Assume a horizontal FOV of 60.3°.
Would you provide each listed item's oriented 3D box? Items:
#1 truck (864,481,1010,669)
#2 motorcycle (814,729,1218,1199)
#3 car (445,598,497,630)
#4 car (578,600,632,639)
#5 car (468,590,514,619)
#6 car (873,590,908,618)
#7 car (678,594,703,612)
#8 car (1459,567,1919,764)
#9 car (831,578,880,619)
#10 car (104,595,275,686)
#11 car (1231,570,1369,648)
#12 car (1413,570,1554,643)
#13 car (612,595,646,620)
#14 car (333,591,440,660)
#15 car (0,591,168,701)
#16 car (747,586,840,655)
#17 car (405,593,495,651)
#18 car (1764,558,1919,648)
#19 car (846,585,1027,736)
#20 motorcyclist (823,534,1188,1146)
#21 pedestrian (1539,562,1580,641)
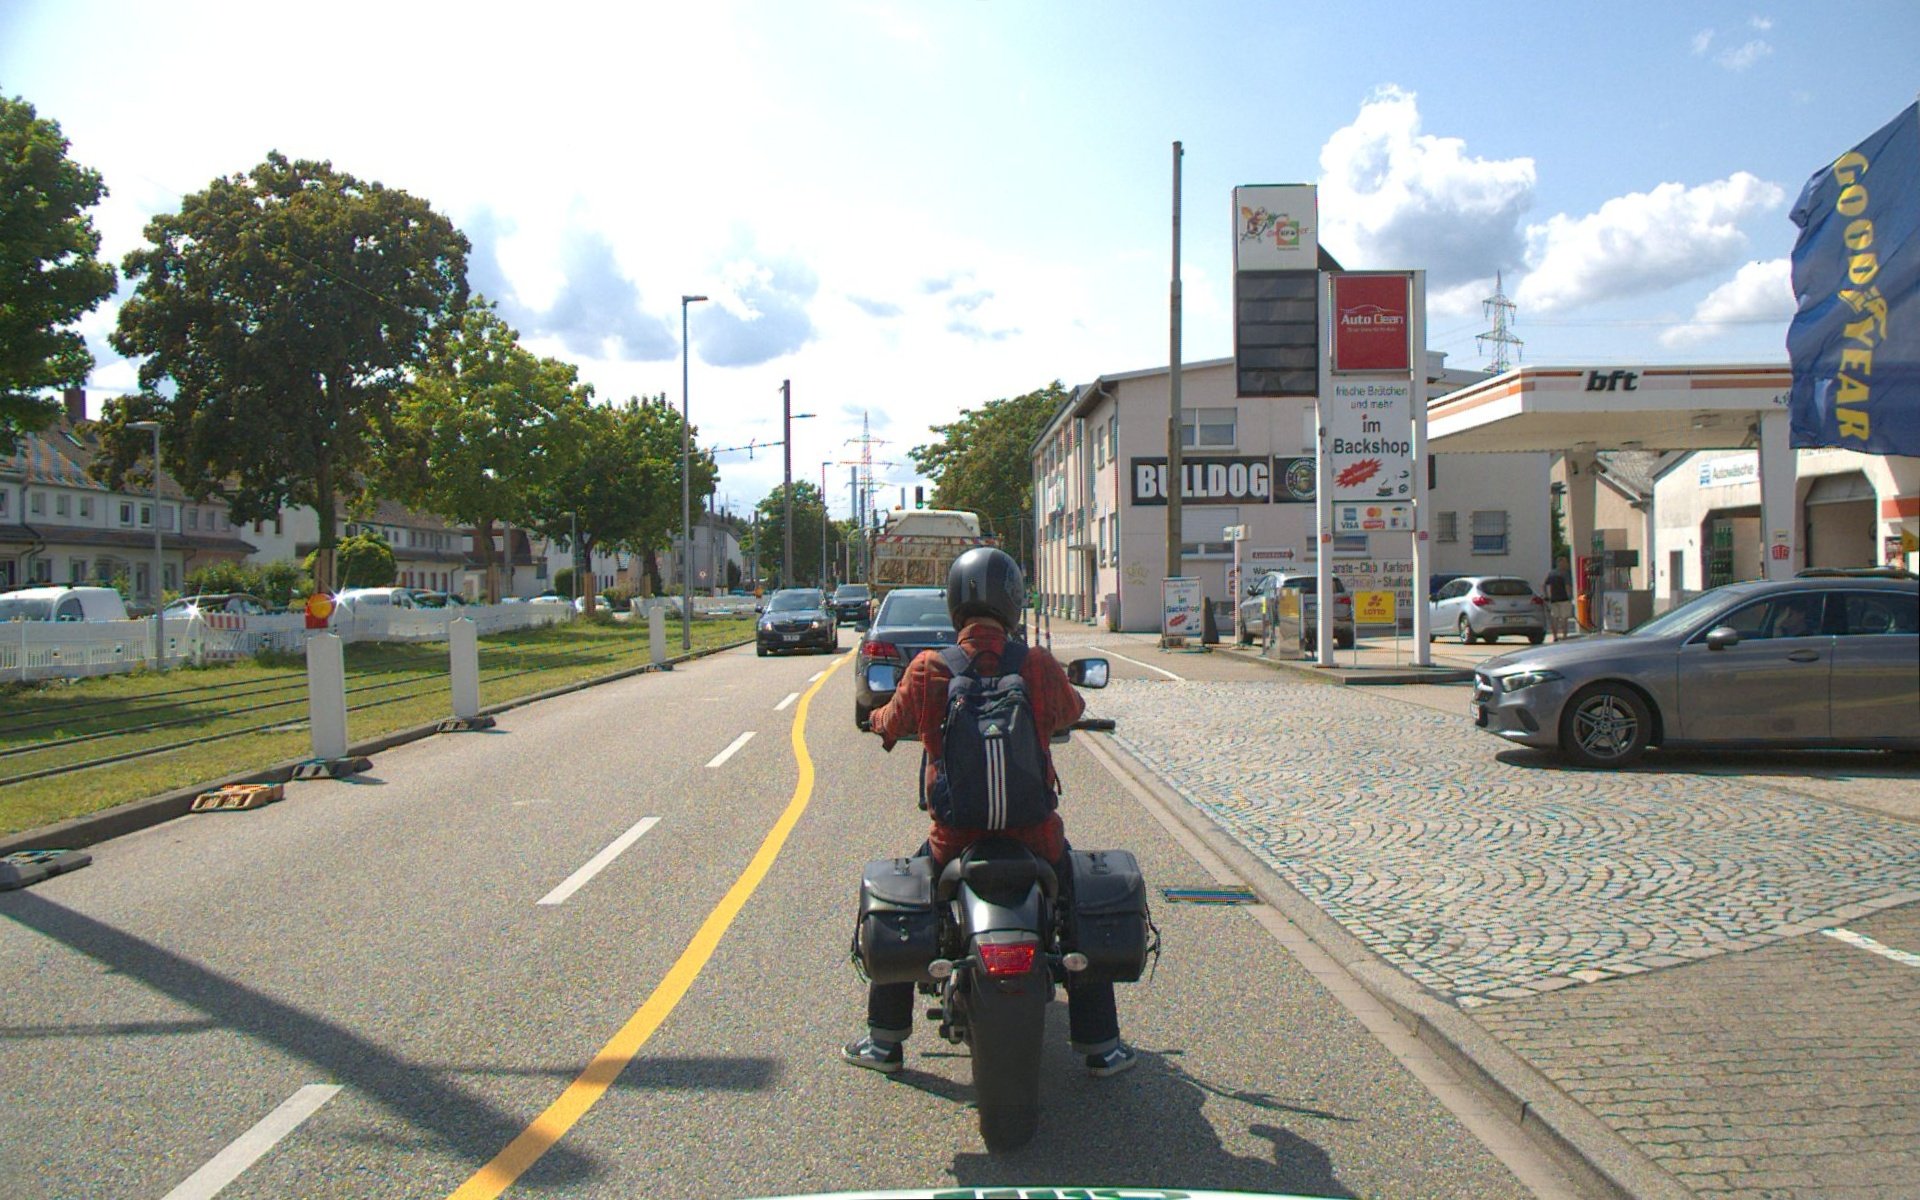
[{"bbox_3d":[-0.467,-0.496,33.949,2.585,3.354,8.055,-1,0,-1],"label":"truck"},{"bbox_3d":[0.118,0.995,5.317,0.959,0.913,2.653,-1,0,-1],"label":"motorcycle"},{"bbox_3d":[-28.304,0.776,95.828,1.740,1.753,4.127,-1,0,-1],"label":"car"},{"bbox_3d":[-17.060,0.907,79.678,1.740,1.753,4.127,-1,0,-1],"label":"car"},{"bbox_3d":[-29.430,0.273,103.945,1.740,1.753,4.127,-1,0,-1],"label":"car"},{"bbox_3d":[-3.872,0.217,92.974,1.786,1.478,4.323,-2,0,-1],"label":"car"},{"bbox_3d":[-26.081,0.281,160.252,1.740,1.753,4.250,-1,0,-1],"label":"car"},{"bbox_3d":[6.220,0.488,13.088,4.181,1.440,1.675,-1,0,11],"label":"car"},{"bbox_3d":[-4.368,-0.077,69.417,1.786,1.630,4.323,-2,0,-1],"label":"car"},{"bbox_3d":[-16.678,0.832,36.019,1.740,1.805,4.227,-1,0,-1],"label":"car"},{"bbox_3d":[7.453,0.174,36.624,1.636,1.589,4.236,-1,0,-8],"label":"car"},{"bbox_3d":[11.717,0.118,37.259,1.770,1.529,3.831,-1,0,-3],"label":"car"},{"bbox_3d":[-24.968,0.545,124.845,1.740,1.753,4.127,-1,0,-1],"label":"car"},{"bbox_3d":[-16.945,0.714,49.076,1.740,1.900,4.127,-1,0,-1],"label":"car"},{"bbox_3d":[-16.470,0.784,30.382,1.740,1.853,4.363,-1,0,-1],"label":"car"},{"bbox_3d":[-3.856,0.436,38.931,1.786,1.478,4.323,-2,0,-1],"label":"car"},{"bbox_3d":[-16.977,0.698,55.254,1.740,1.837,4.127,-1,0,-1],"label":"car"},{"bbox_3d":[16.613,0.023,30.314,1.770,1.529,3.832,-1,0,-3],"label":"car"},{"bbox_3d":[-0.260,0.588,18.523,1.786,1.478,3.999,1,0,-1],"label":"car"},{"bbox_3d":[0.116,0.641,5.011,0.959,1.630,1.087,-1,0,-1],"label":"motorcyclist"},{"bbox_3d":[12.948,0.029,35.705,0.696,1.685,0.546,-1,0,35],"label":"pedestrian"}]
